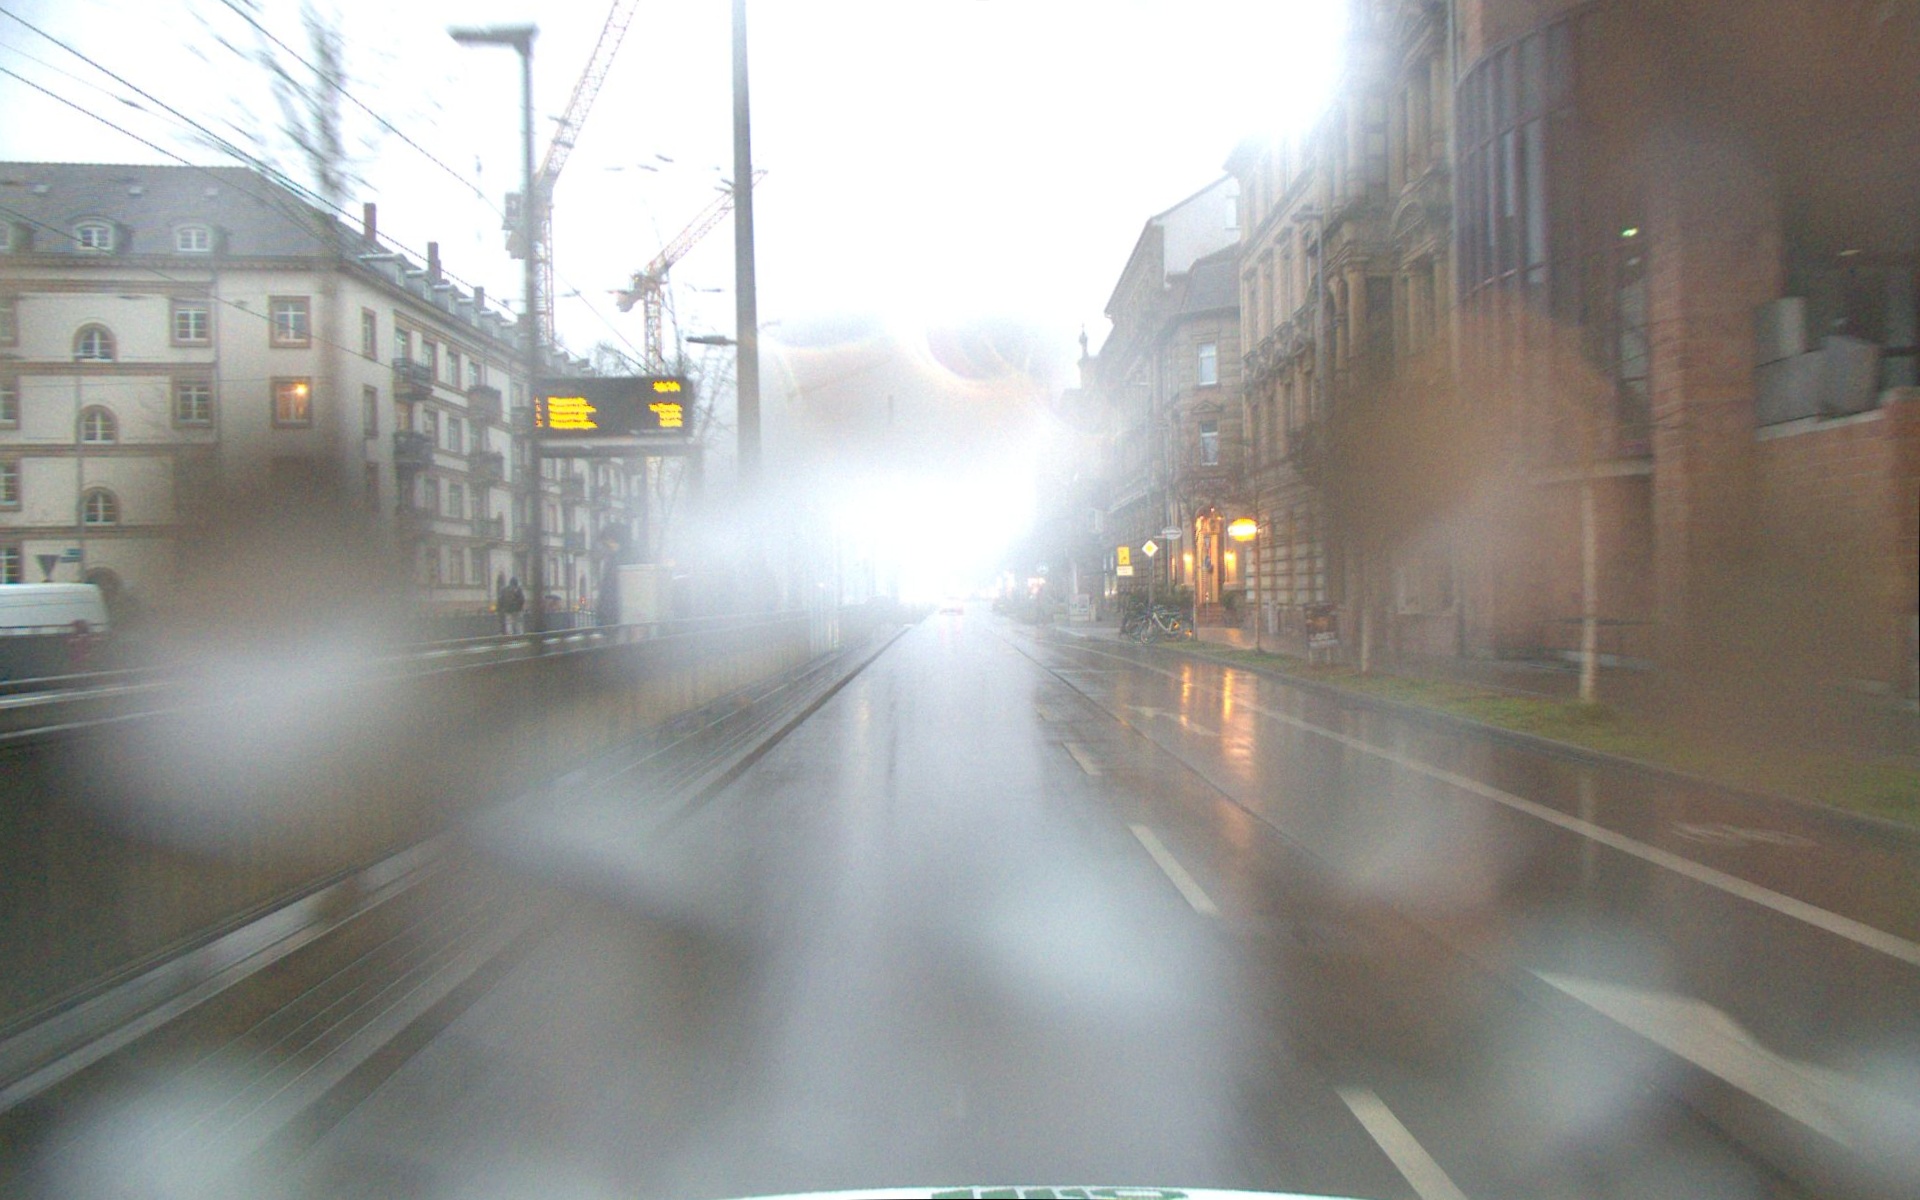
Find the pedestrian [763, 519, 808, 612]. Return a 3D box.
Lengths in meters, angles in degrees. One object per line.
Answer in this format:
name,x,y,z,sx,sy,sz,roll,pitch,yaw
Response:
pedestrian,-2.933,-0.576,27.792,0.668,1.542,0.617,0,0,-13

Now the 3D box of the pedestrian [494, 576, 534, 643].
pedestrian,-12.231,0.263,45.340,0.791,1.811,0.810,0,0,-42

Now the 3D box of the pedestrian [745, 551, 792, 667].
pedestrian,-3.612,0.160,31.276,0.793,2.147,0.804,-1,0,-4

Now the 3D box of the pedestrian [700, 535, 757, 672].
pedestrian,-3.715,0.056,26.563,0.793,2.147,0.804,-1,0,-3

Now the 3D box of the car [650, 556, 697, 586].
car,-13.551,-1.362,78.401,1.647,1.378,3.545,0,0,-1

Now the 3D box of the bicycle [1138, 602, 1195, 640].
bicycle,6.442,0.653,51.567,1.695,1.073,0.371,-3,0,-2

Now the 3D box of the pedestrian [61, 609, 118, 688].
pedestrian,-12.674,0.692,24.083,0.604,1.122,0.582,0,0,-45

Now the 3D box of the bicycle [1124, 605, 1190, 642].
bicycle,6.595,0.796,55.453,2.101,1.073,0.425,-4,1,-2

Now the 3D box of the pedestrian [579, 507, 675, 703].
pedestrian,-3.055,0.042,15.141,0.764,1.733,0.769,0,0,-19

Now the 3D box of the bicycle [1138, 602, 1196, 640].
bicycle,6.368,0.649,50.966,1.695,1.073,0.371,-3,0,-2

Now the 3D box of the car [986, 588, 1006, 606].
car,3.482,-0.294,158.564,1.761,1.632,3.771,-2,0,2

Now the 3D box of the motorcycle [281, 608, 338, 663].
motorcycle,-12.588,0.671,32.054,0.502,1.026,1.805,0,0,-4

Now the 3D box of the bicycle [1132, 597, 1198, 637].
bicycle,6.478,0.524,52.401,1.968,1.114,0.425,-4,0,-2

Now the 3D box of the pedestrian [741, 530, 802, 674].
pedestrian,-2.854,0.025,25.126,0.793,2.147,0.804,-1,0,0

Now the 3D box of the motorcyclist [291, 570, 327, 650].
motorcyclist,-12.581,0.190,31.976,0.489,1.522,0.556,0,0,-5

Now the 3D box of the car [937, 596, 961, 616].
car,-0.875,0.465,129.178,1.747,1.492,3.149,-1,0,1

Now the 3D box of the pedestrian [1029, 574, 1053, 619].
pedestrian,3.763,-0.151,76.842,0.896,2.049,0.856,-1,0,18

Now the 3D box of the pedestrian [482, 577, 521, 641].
pedestrian,-13.026,0.254,47.025,0.791,1.811,0.810,0,0,-42

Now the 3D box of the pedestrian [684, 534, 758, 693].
pedestrian,-3.046,0.167,21.141,0.793,1.981,0.804,-1,0,0

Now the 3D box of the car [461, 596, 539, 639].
car,-15.109,0.567,54.462,1.647,1.378,3.545,0,0,-1

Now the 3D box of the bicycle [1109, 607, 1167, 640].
bicycle,6.239,0.814,57.926,2.063,1.070,0.474,-3,0,-27

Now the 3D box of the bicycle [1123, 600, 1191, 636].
bicycle,6.450,0.571,54.171,2.101,1.073,0.484,-3,0,-2

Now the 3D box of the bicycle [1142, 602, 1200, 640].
bicycle,6.430,0.648,50.465,1.695,1.073,0.371,-3,0,-2

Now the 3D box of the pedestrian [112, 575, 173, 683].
pedestrian,-12.005,0.418,24.279,0.631,1.551,0.745,0,0,-42

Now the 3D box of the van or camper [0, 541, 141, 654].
van or camper,-24.225,-0.061,42.103,2.714,2.729,6.759,0,0,8

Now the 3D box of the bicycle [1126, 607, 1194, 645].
bicycle,6.489,0.851,53.611,2.101,1.073,0.425,-4,1,-2
